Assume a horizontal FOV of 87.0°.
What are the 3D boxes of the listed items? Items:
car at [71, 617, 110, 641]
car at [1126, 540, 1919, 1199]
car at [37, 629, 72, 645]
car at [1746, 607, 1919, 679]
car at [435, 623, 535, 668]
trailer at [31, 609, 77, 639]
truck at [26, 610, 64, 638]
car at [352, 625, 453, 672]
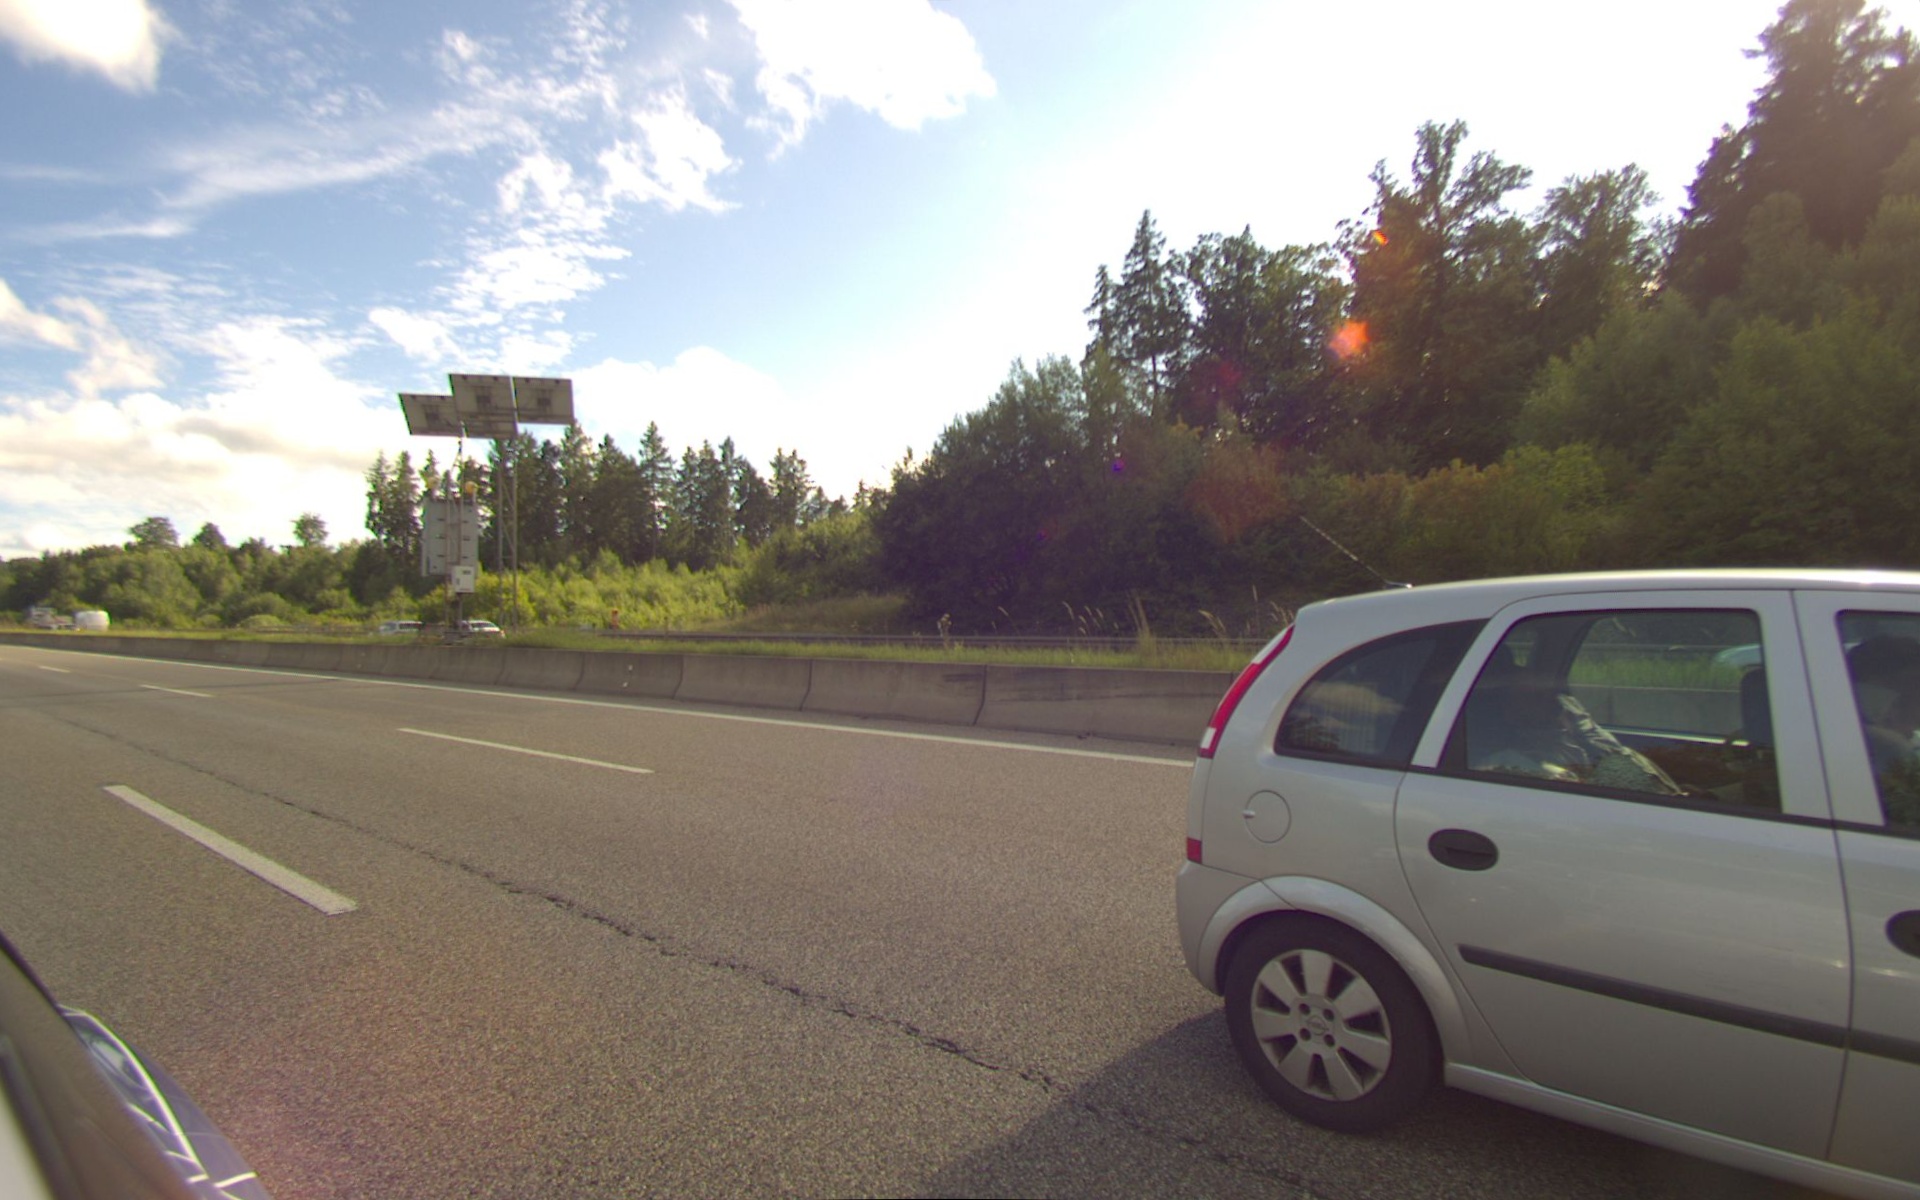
[{"bbox_3d":[-87.416,2.866,101.680,6.721,2.330,2.087,-2,-1,41],"label":"car"},{"bbox_3d":[2.742,0.645,2.428,4.331,1.529,1.816,-2,-1,42],"label":"car"},{"bbox_3d":[-81.881,3.331,91.487,3.999,1.464,1.972,-2,-1,42],"label":"car"},{"bbox_3d":[14.776,0.672,16.355,3.172,1.102,1.575,-2,-1,41],"label":"car"},{"bbox_3d":[-24.485,2.304,52.060,5.963,2.155,2.552,-2,-1,42],"label":"car"},{"bbox_3d":[-121.580,3.196,135.716,12.203,3.867,3.091,-2,-1,41],"label":"trailer"},{"bbox_3d":[-126.959,3.326,140.436,7.119,3.867,3.082,-2,-1,41],"label":"truck"},{"bbox_3d":[-27.517,2.319,49.842,5.963,2.155,2.552,-2,-1,42],"label":"car"}]
